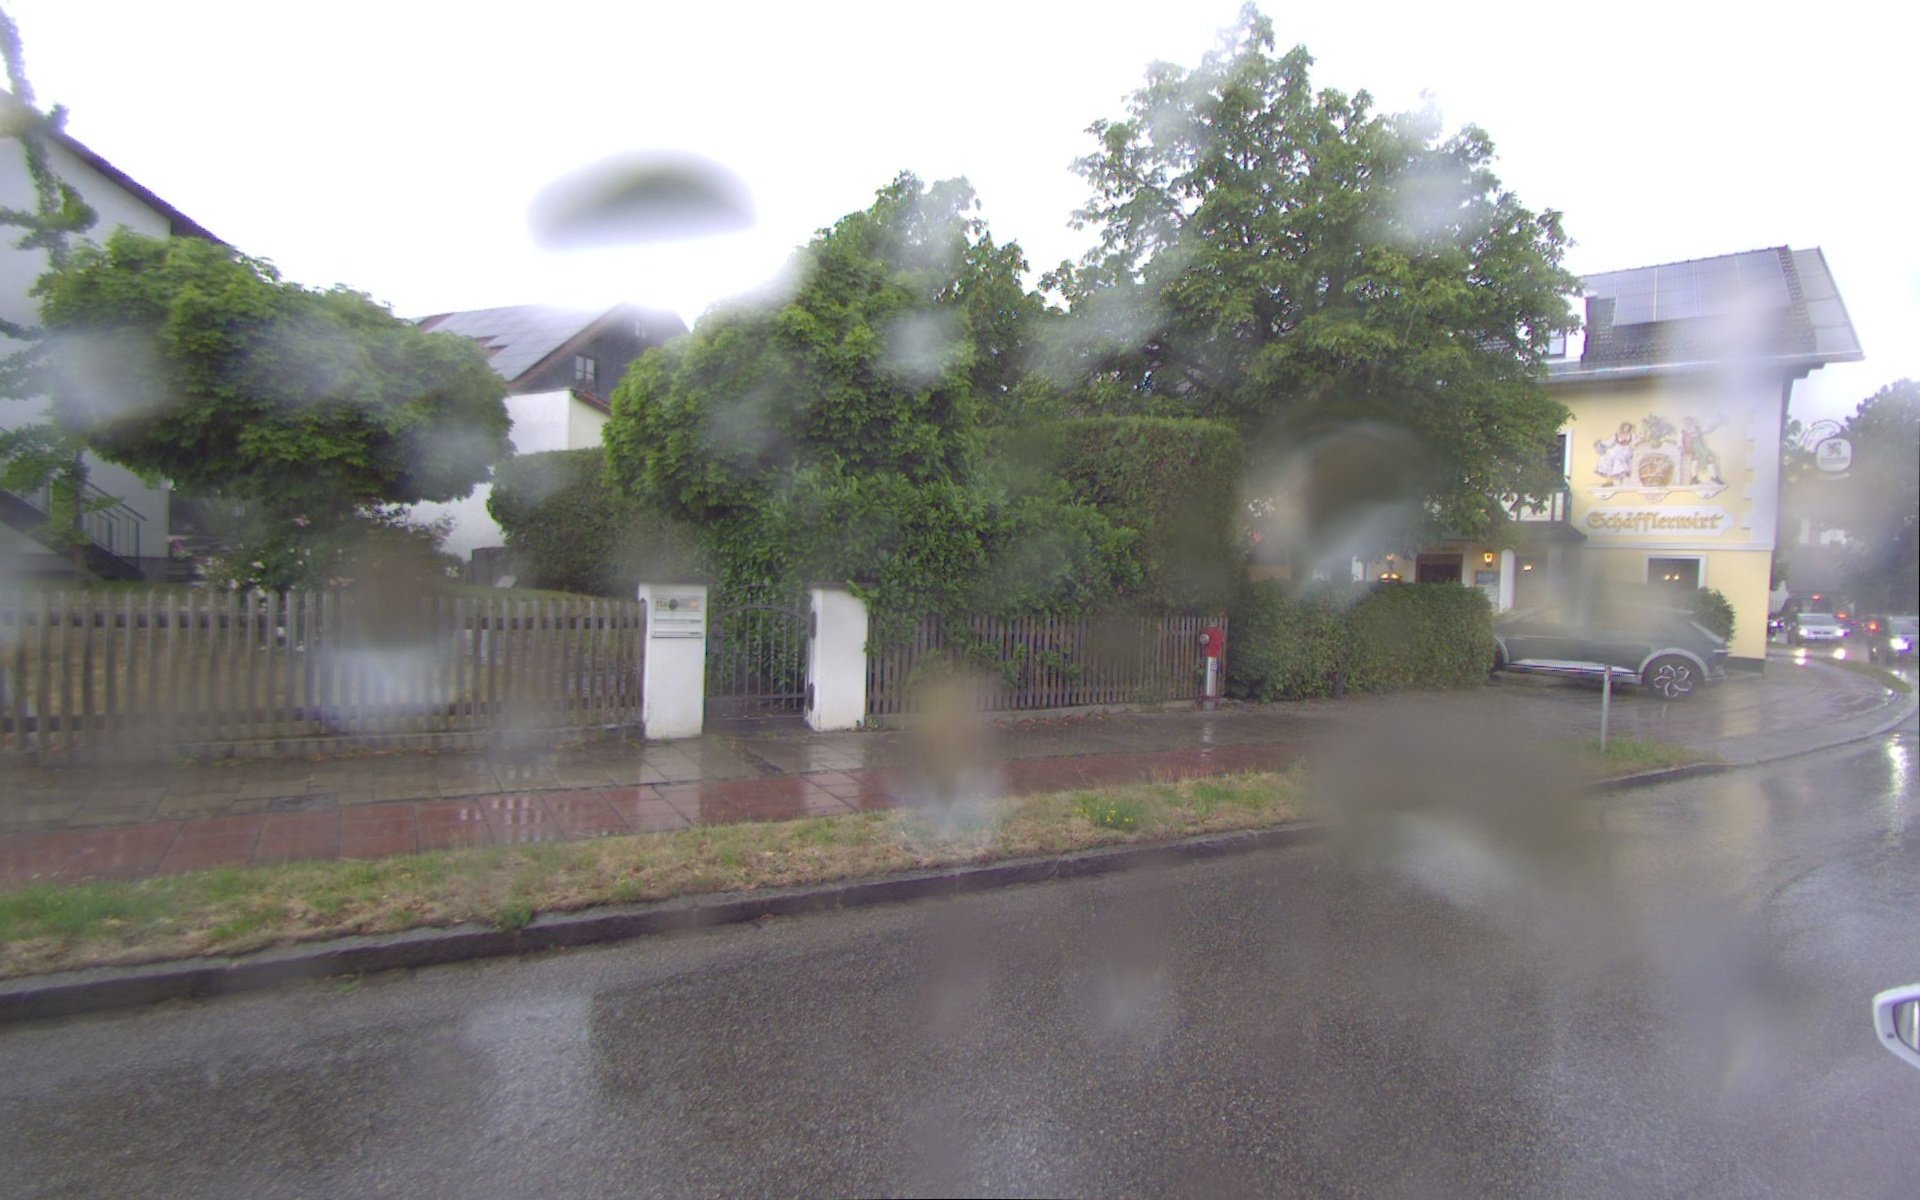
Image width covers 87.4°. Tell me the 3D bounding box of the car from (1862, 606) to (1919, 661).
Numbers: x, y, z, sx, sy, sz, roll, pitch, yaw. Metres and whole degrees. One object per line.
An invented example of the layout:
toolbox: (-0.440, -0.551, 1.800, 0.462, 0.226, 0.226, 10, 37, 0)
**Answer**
car: (32.390, 1.118, 34.178, 1.896, 1.767, 4.180, 0, -1, 33)

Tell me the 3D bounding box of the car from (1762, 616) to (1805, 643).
car: (67.191, 2.356, 82.045, 2.139, 1.925, 4.999, 3, 2, 34)

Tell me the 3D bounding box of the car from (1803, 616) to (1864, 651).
car: (54.959, 2.065, 63.298, 2.139, 1.925, 4.999, 3, 2, 34)

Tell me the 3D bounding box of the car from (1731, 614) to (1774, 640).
car: (53.104, 1.785, 67.368, 1.562, 1.631, 3.534, 1, -1, 27)

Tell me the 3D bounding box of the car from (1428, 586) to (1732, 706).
car: (11.161, 0.727, 18.369, 4.413, 1.589, 1.834, 6, 5, 32)

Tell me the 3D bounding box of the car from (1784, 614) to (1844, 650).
car: (43.009, 1.615, 50.662, 1.729, 1.700, 3.990, 0, -1, 33)

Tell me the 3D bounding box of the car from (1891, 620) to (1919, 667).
car: (43.863, 1.979, 45.109, 2.139, 1.925, 4.999, 3, 2, 34)
